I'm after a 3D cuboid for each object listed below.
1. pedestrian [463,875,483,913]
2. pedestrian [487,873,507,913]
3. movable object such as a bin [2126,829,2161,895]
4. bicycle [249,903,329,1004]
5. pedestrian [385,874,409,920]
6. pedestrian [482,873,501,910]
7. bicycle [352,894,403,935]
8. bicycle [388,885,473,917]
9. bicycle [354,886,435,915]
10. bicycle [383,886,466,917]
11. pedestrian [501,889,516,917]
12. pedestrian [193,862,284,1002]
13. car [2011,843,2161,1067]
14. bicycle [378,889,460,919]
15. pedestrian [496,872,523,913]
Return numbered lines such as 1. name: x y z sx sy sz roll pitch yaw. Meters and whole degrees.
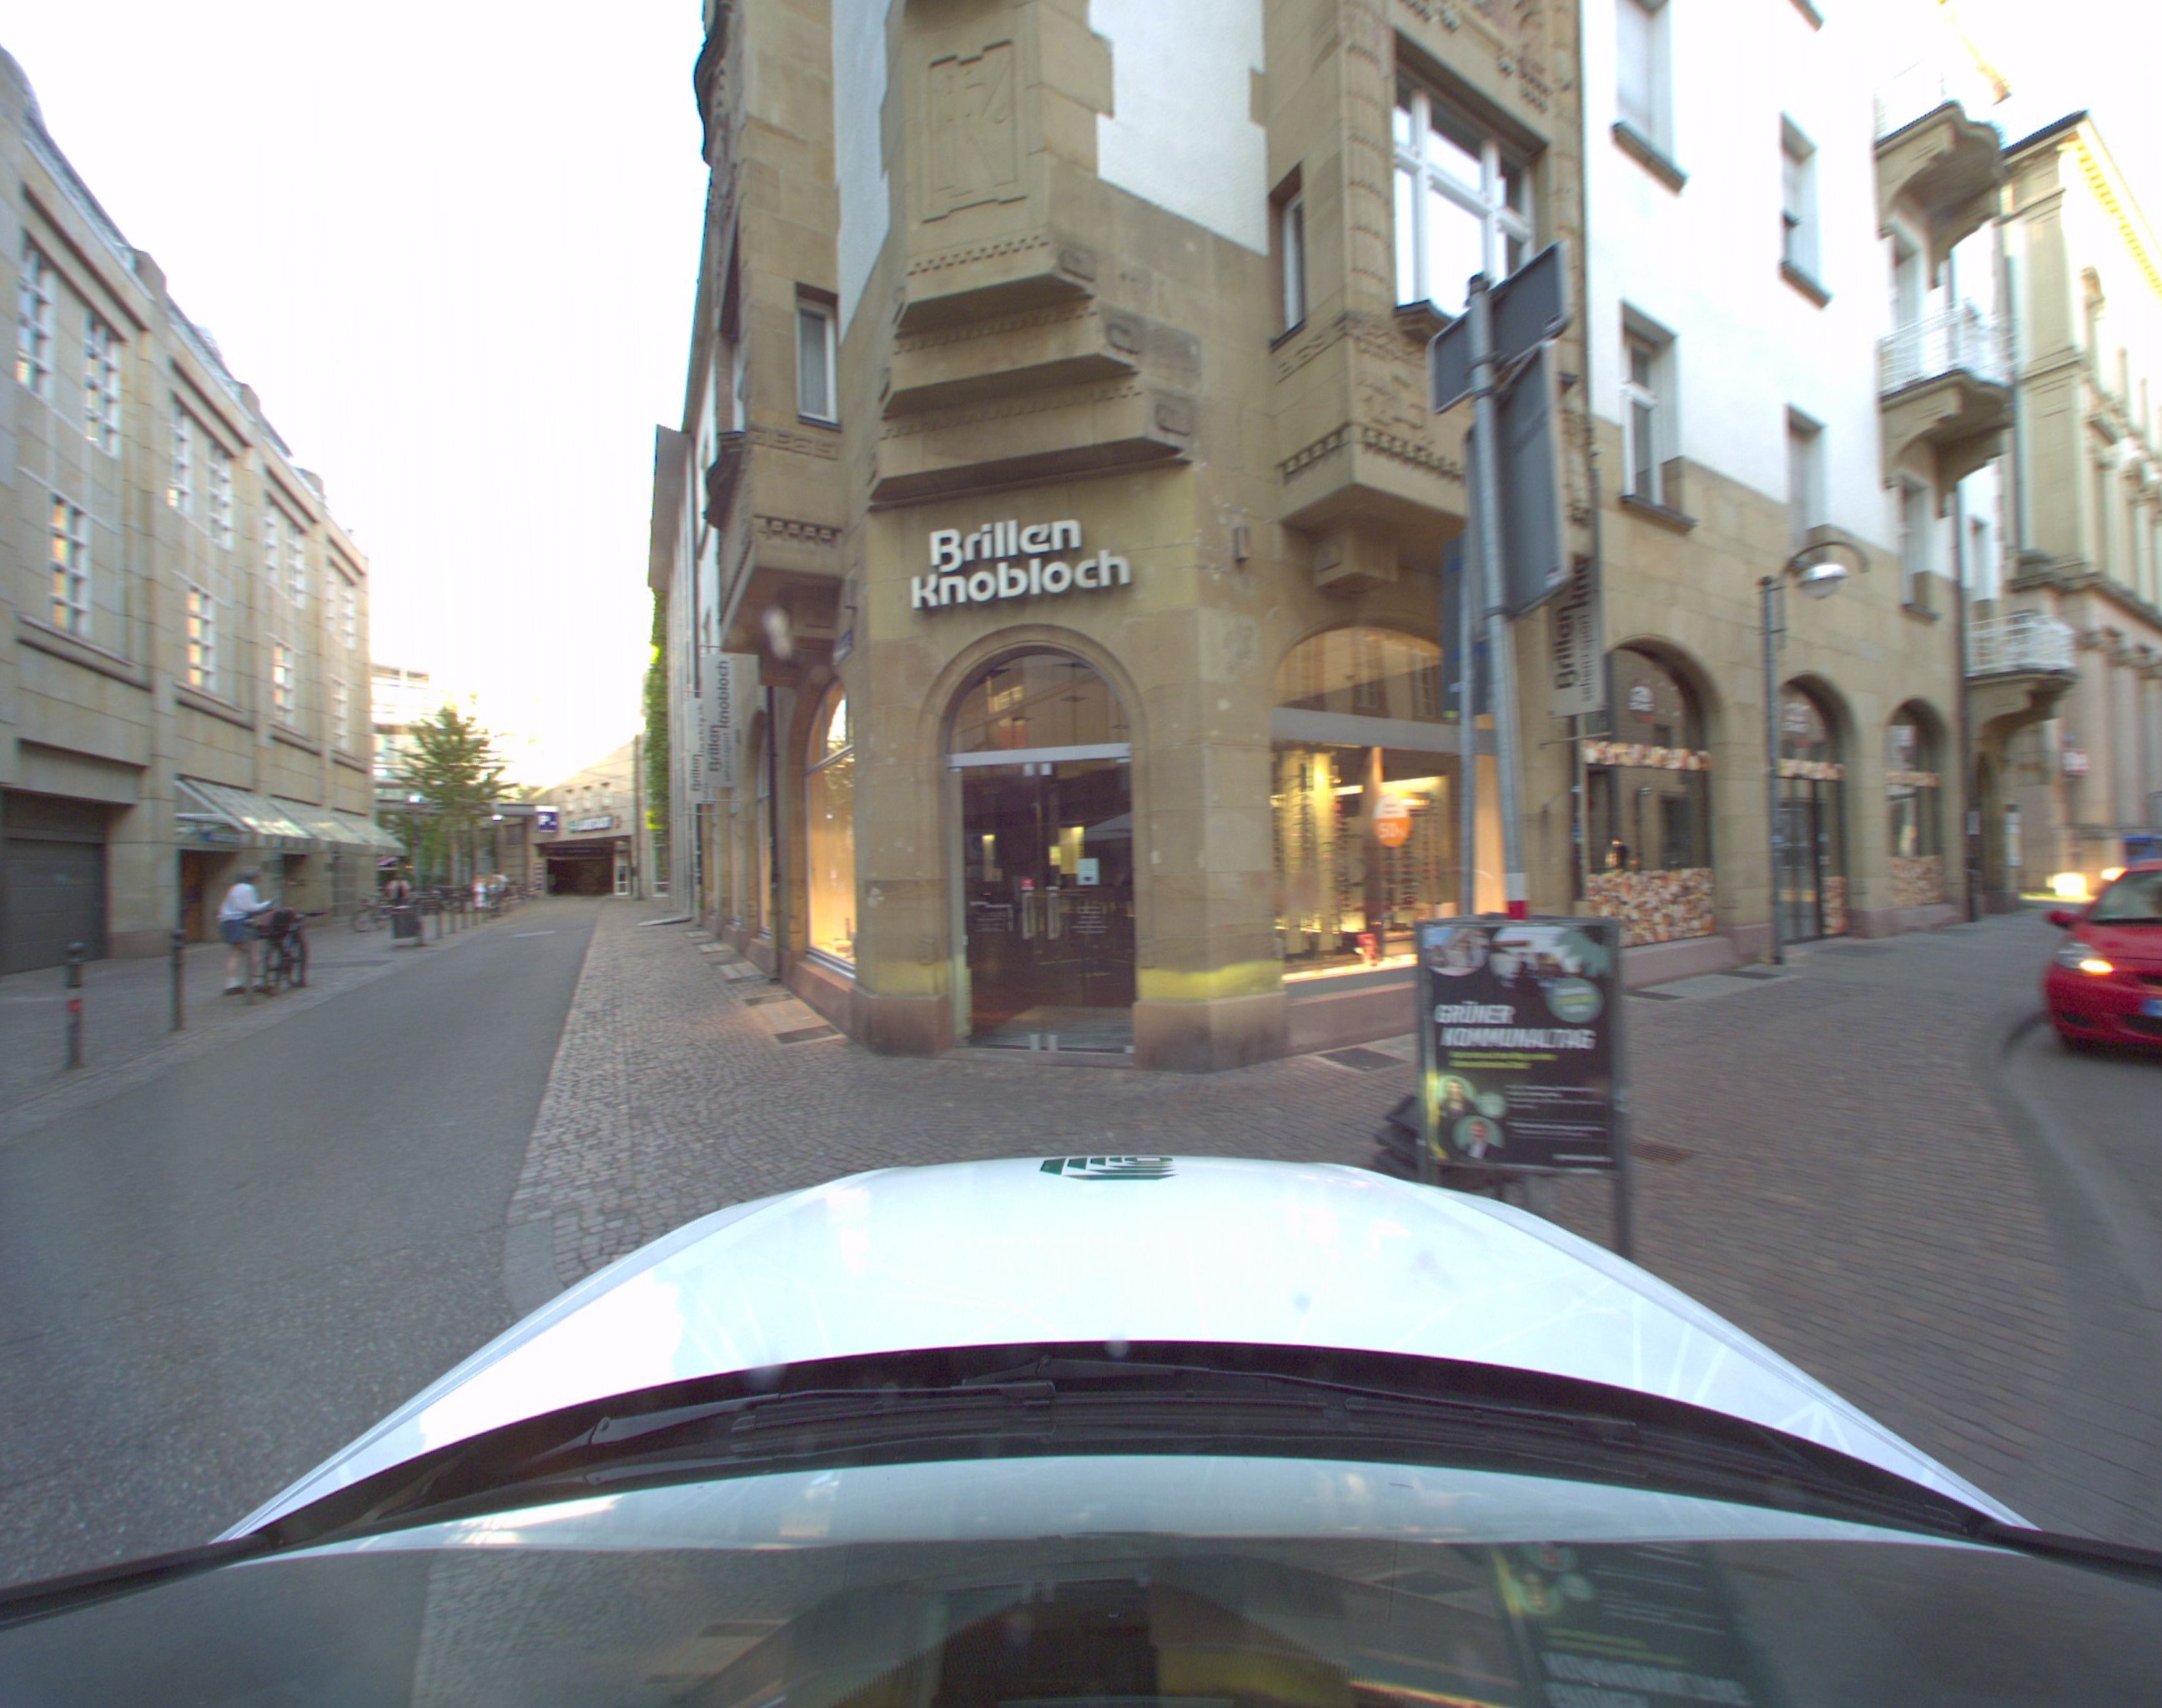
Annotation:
1. pedestrian: -26.283 1.732 35.200 0.593 1.604 0.659 -1 -2 -29
2. pedestrian: -26.173 1.722 36.501 0.634 1.757 0.791 -1 -2 -29
3. movable object such as a bin: 25.553 0.171 19.259 1.295 1.503 0.824 -2 0 -29
4. bicycle: -11.029 1.338 11.381 0.414 1.232 1.808 -1 -1 -32
5. pedestrian: -26.593 1.667 31.665 0.662 1.764 0.609 -1 -1 -43
6. pedestrian: -25.594 1.616 35.366 0.588 1.604 0.622 -1 -2 -29
7. bicycle: -21.214 1.796 24.598 0.483 1.081 2.225 -2 -1 -23
8. bicycle: -28.106 1.996 35.252 0.724 1.200 2.784 -2 -1 41
9. bicycle: -32.014 2.148 38.037 0.724 1.200 2.784 -2 -1 41
10. bicycle: -29.215 2.075 36.275 0.724 1.200 2.784 -2 -1 41
11. pedestrian: -24.361 2.063 34.648 0.469 1.168 0.516 -1 -2 -29
12. pedestrian: -11.417 1.024 11.066 0.613 1.791 0.901 -1 -1 -31
13. car: 9.052 0.632 6.235 3.942 1.470 1.647 -2 -3 -29
14. bicycle: -30.031 2.251 36.985 0.724 1.200 2.784 -2 -1 41
15. pedestrian: -25.195 1.703 35.932 0.869 1.757 0.791 -1 -2 -29
